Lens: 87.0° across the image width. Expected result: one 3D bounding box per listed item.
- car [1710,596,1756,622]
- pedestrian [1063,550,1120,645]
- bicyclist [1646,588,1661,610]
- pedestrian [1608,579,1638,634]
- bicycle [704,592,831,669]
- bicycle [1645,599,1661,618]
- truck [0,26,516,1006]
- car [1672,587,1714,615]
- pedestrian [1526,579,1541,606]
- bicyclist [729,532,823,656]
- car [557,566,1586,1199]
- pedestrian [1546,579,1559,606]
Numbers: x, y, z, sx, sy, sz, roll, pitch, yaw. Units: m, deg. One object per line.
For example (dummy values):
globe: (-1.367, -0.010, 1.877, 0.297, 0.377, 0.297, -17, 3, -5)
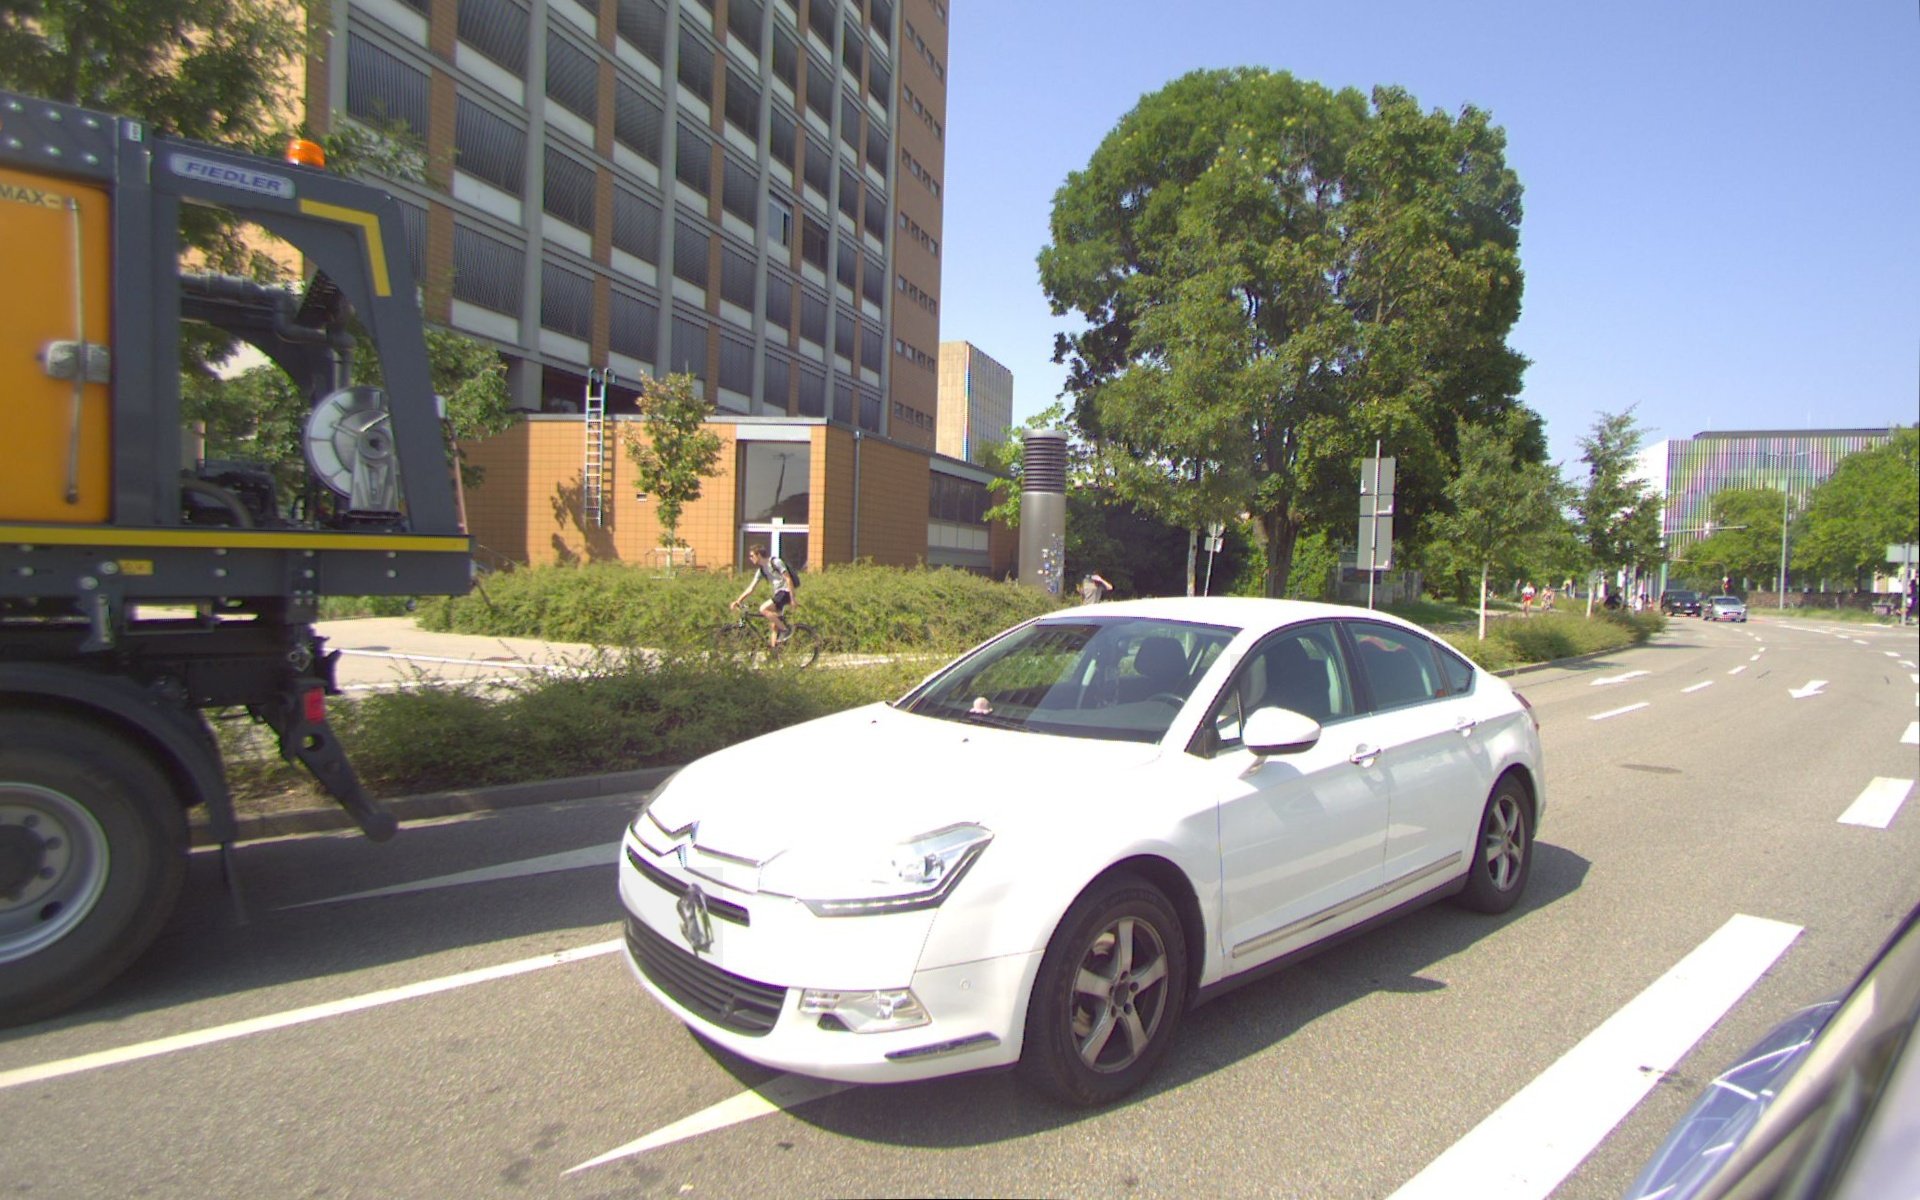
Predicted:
car: (48.218, 0.512, 63.185, 1.645, 1.550, 4.487, 0, 0, 29)
pedestrian: (2.451, -0.063, 18.901, 0.793, 1.720, 0.671, 0, 1, -44)
bicyclist: (46.101, -0.063, 67.289, 0.677, 1.417, 1.034, 2, 1, 40)
pedestrian: (23.745, 0.218, 36.219, 0.818, 1.926, 0.622, 2, 1, 37)
bicycle: (-2.625, 0.400, 13.949, 1.751, 0.992, 0.357, 0, 2, -41)
bicycle: (46.067, 0.541, 67.256, 0.592, 1.183, 2.203, 2, 2, 40)
truck: (-5.274, -0.284, 3.144, 6.736, 3.174, 2.498, 0, 0, -39)
car: (53.985, 0.057, 74.640, 1.874, 1.943, 4.489, 1, 1, 28)
pedestrian: (28.491, -0.369, 50.297, 0.630, 1.315, 0.481, 0, 0, 32)
bicyclist: (-2.526, -0.099, 13.886, 0.909, 1.625, 0.903, 0, 1, -43)
car: (0.876, 0.636, 4.353, 4.528, 1.446, 1.772, 0, 2, -41)
pedestrian: (29.143, -0.371, 49.787, 0.572, 1.315, 0.433, 0, 0, 30)
